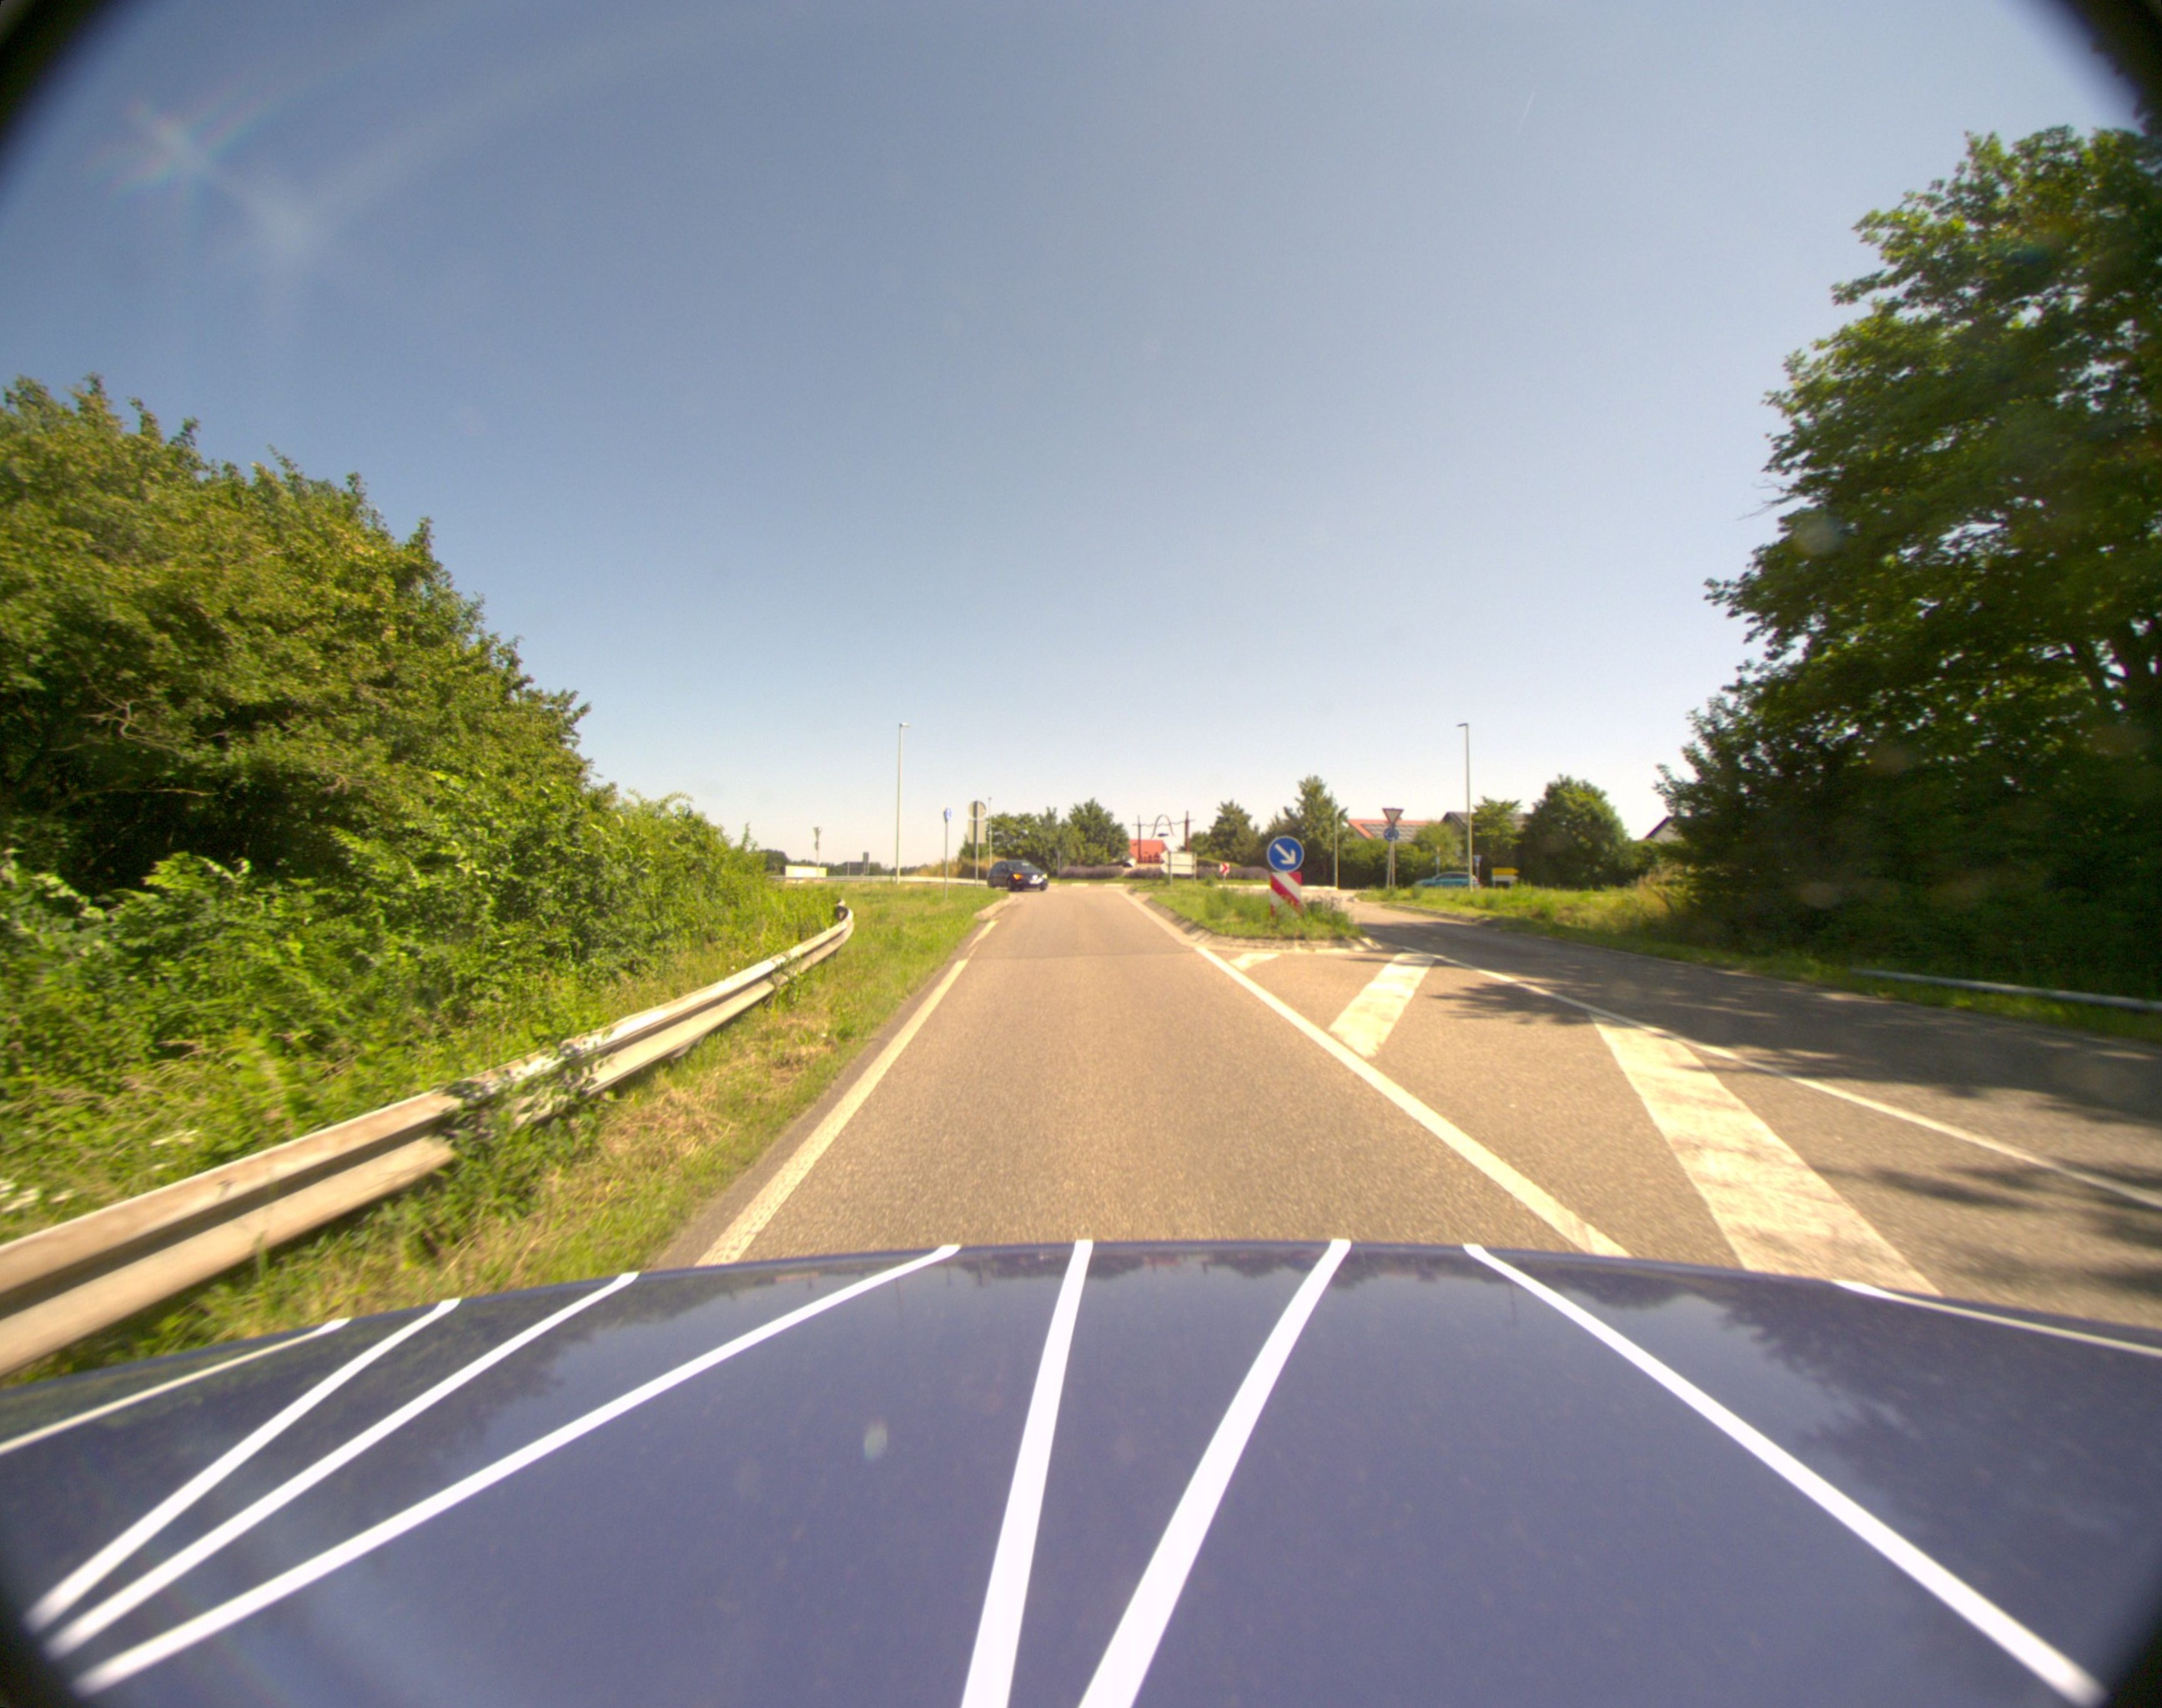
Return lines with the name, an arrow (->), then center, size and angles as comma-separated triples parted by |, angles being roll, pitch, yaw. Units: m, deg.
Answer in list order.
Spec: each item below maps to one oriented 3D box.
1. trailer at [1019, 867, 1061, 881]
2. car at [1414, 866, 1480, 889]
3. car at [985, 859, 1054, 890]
trailer -> -6.890, 3.309, 126.519 | 2.004, 2.264, 10.466 | 1, -1, -34
car -> 25.934, 1.651, 53.974 | 3.991, 1.566, 1.652 | 0, -1, 17
car -> -2.973, 0.949, 35.761 | 1.811, 1.389, 4.171 | 1, -1, -26
